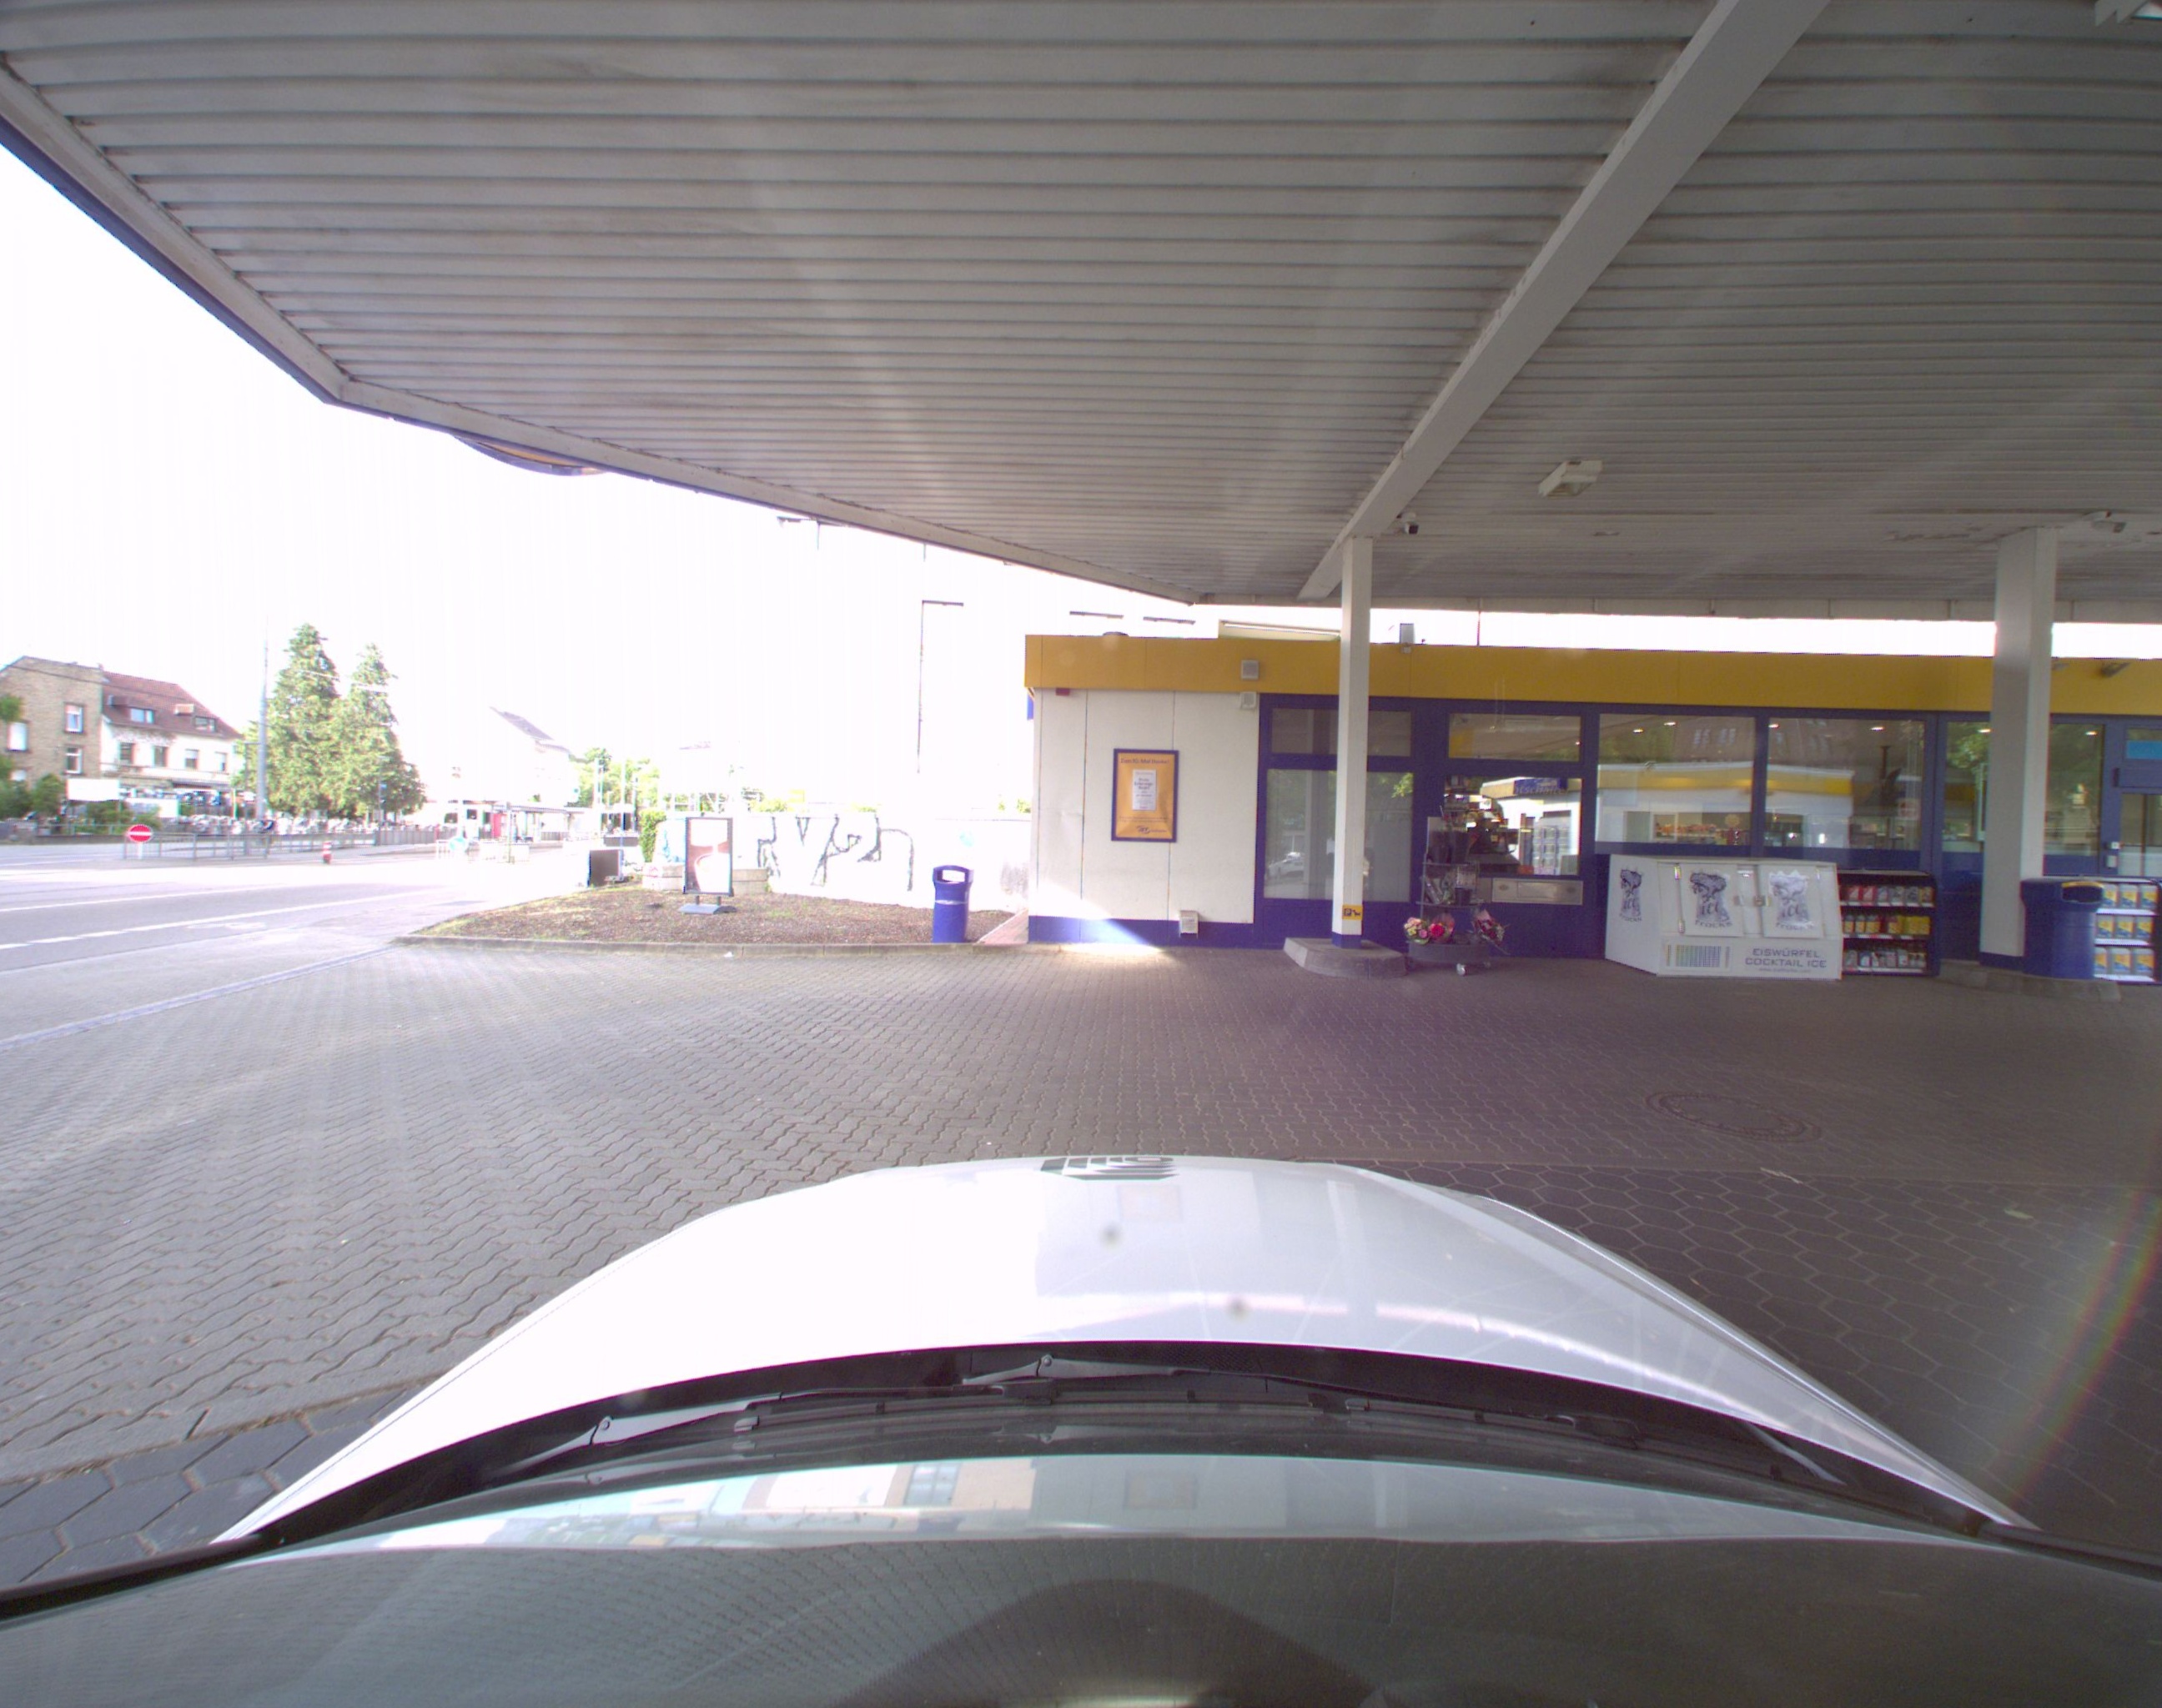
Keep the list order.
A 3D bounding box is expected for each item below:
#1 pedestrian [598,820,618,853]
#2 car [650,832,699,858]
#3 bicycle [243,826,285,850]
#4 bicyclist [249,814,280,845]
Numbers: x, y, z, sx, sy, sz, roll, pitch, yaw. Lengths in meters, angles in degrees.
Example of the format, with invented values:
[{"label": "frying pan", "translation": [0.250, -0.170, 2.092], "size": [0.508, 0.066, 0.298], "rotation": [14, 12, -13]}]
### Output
[{"label": "pedestrian", "translation": [-28.704, -1.048, 49.444], "size": [0.807, 2.014, 0.846], "rotation": [0, -1, -14]}, {"label": "car", "translation": [-24.940, -0.588, 50.101], "size": [1.751, 1.468, 4.548], "rotation": [2, 1, -15]}, {"label": "bicycle", "translation": [-41.919, -0.823, 41.808], "size": [0.680, 1.222, 1.908], "rotation": [0, 1, -17]}, {"label": "bicyclist", "translation": [-41.905, -1.254, 41.808], "size": [0.680, 1.534, 1.079], "rotation": [0, 1, -17]}]
